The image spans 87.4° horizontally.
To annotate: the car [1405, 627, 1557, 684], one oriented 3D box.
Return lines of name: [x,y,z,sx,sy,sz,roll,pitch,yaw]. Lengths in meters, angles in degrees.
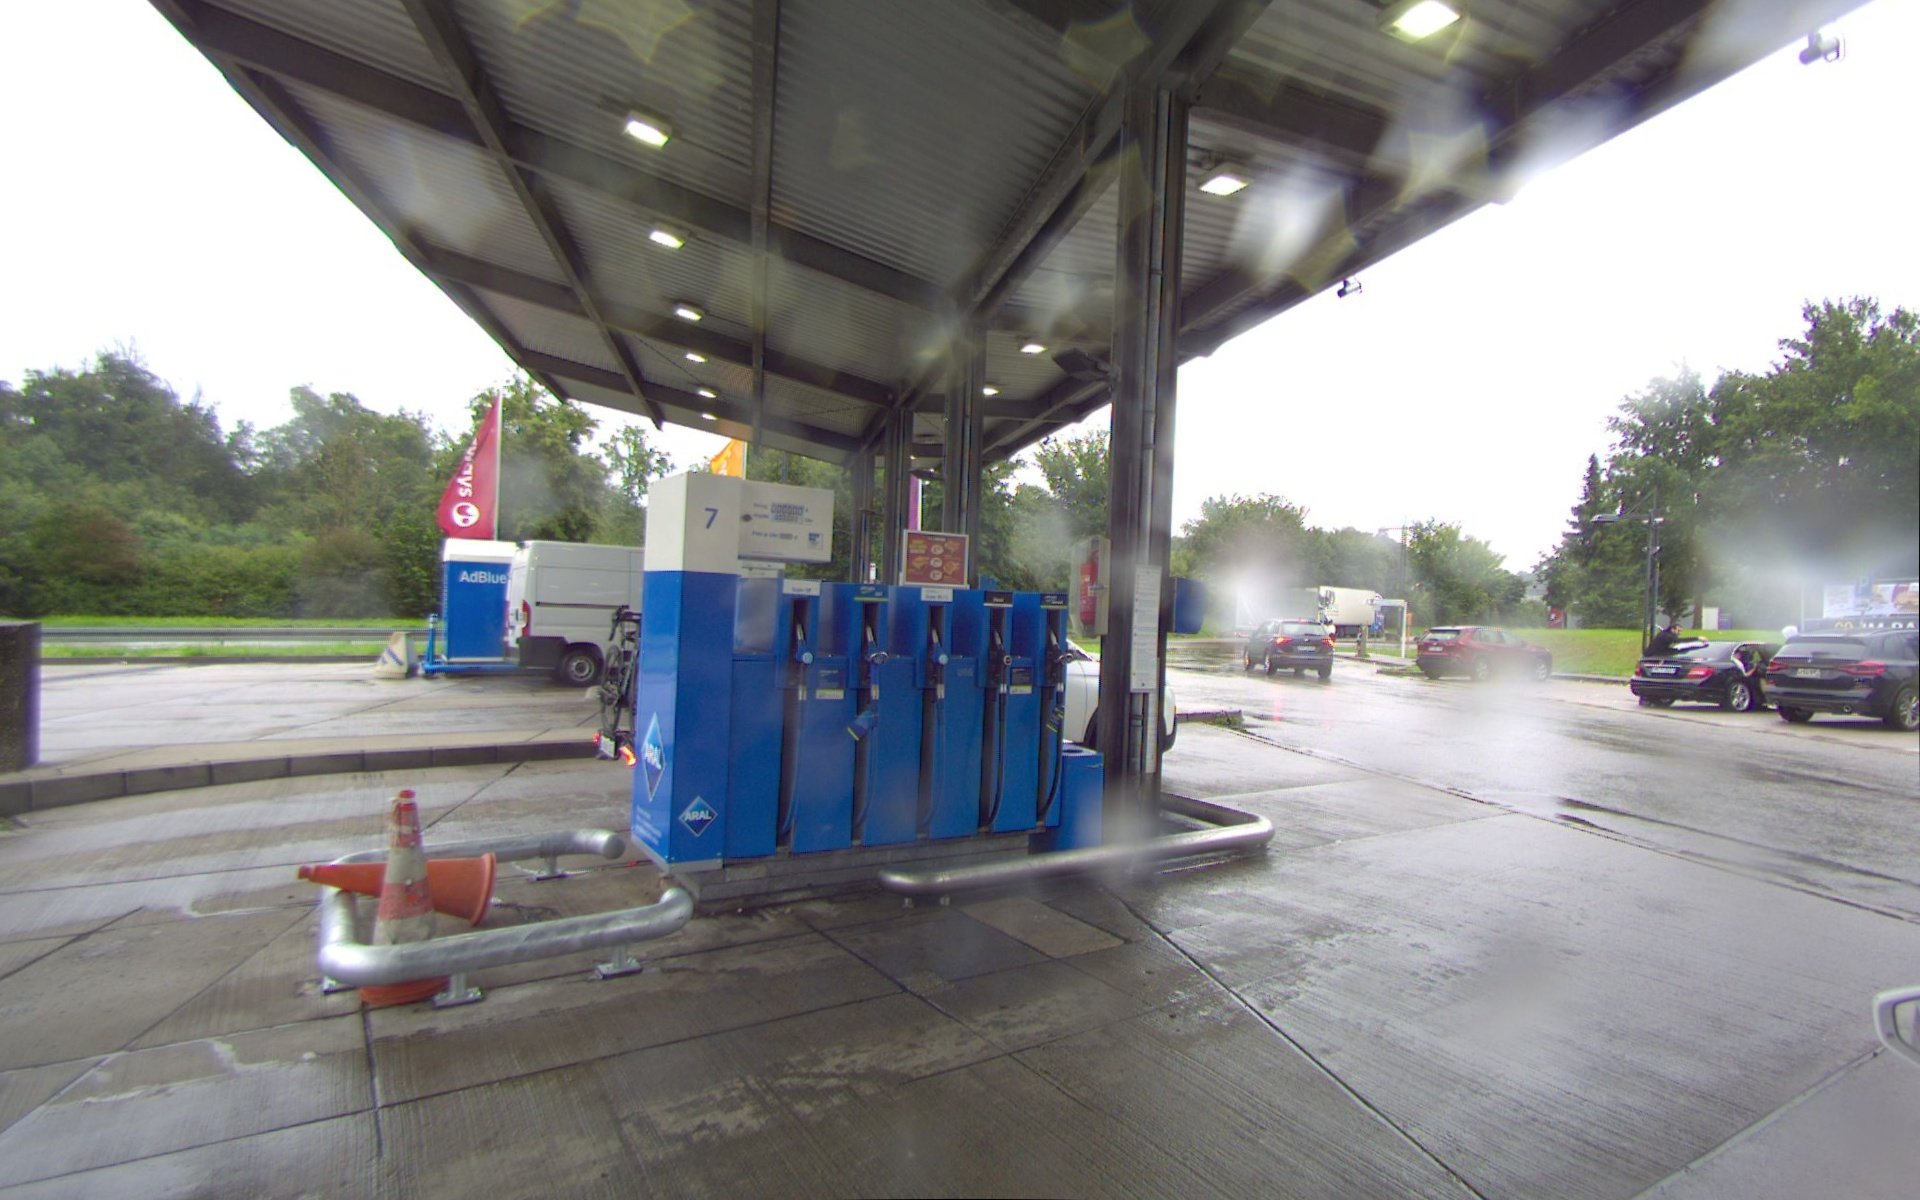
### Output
car: [16.075,1.665,30.994,4.283,1.666,1.933,1,-2,-25]

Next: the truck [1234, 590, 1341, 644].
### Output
truck: [19.925,1.072,60.894,7.292,3.126,2.458,2,0,-38]

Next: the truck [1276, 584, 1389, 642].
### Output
truck: [31.877,1.178,85.144,3.498,4.397,16.922,2,0,40]

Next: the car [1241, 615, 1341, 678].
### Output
car: [9.793,1.350,30.065,1.960,1.700,4.002,2,-1,5]

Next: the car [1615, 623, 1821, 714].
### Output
car: [15.941,1.353,21.083,4.293,1.734,2.007,1,-2,-31]

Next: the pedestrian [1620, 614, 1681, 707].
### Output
pedestrian: [14.724,1.271,21.451,0.690,1.912,0.894,2,0,7]

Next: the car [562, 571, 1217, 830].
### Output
car: [-0.426,0.697,8.450,5.210,1.629,1.852,2,0,-30]

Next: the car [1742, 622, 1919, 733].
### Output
car: [16.171,1.268,17.460,4.274,1.734,2.016,1,-1,-18]

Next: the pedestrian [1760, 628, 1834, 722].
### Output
pedestrian: [15.472,1.365,18.599,0.938,1.653,0.702,2,0,33]

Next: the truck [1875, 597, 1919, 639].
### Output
truck: [68.853,1.319,71.693,5.285,2.959,2.191,2,0,-5]

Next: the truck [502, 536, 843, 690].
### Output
truck: [-5.339,0.288,18.932,5.793,2.527,2.221,2,0,-30]
